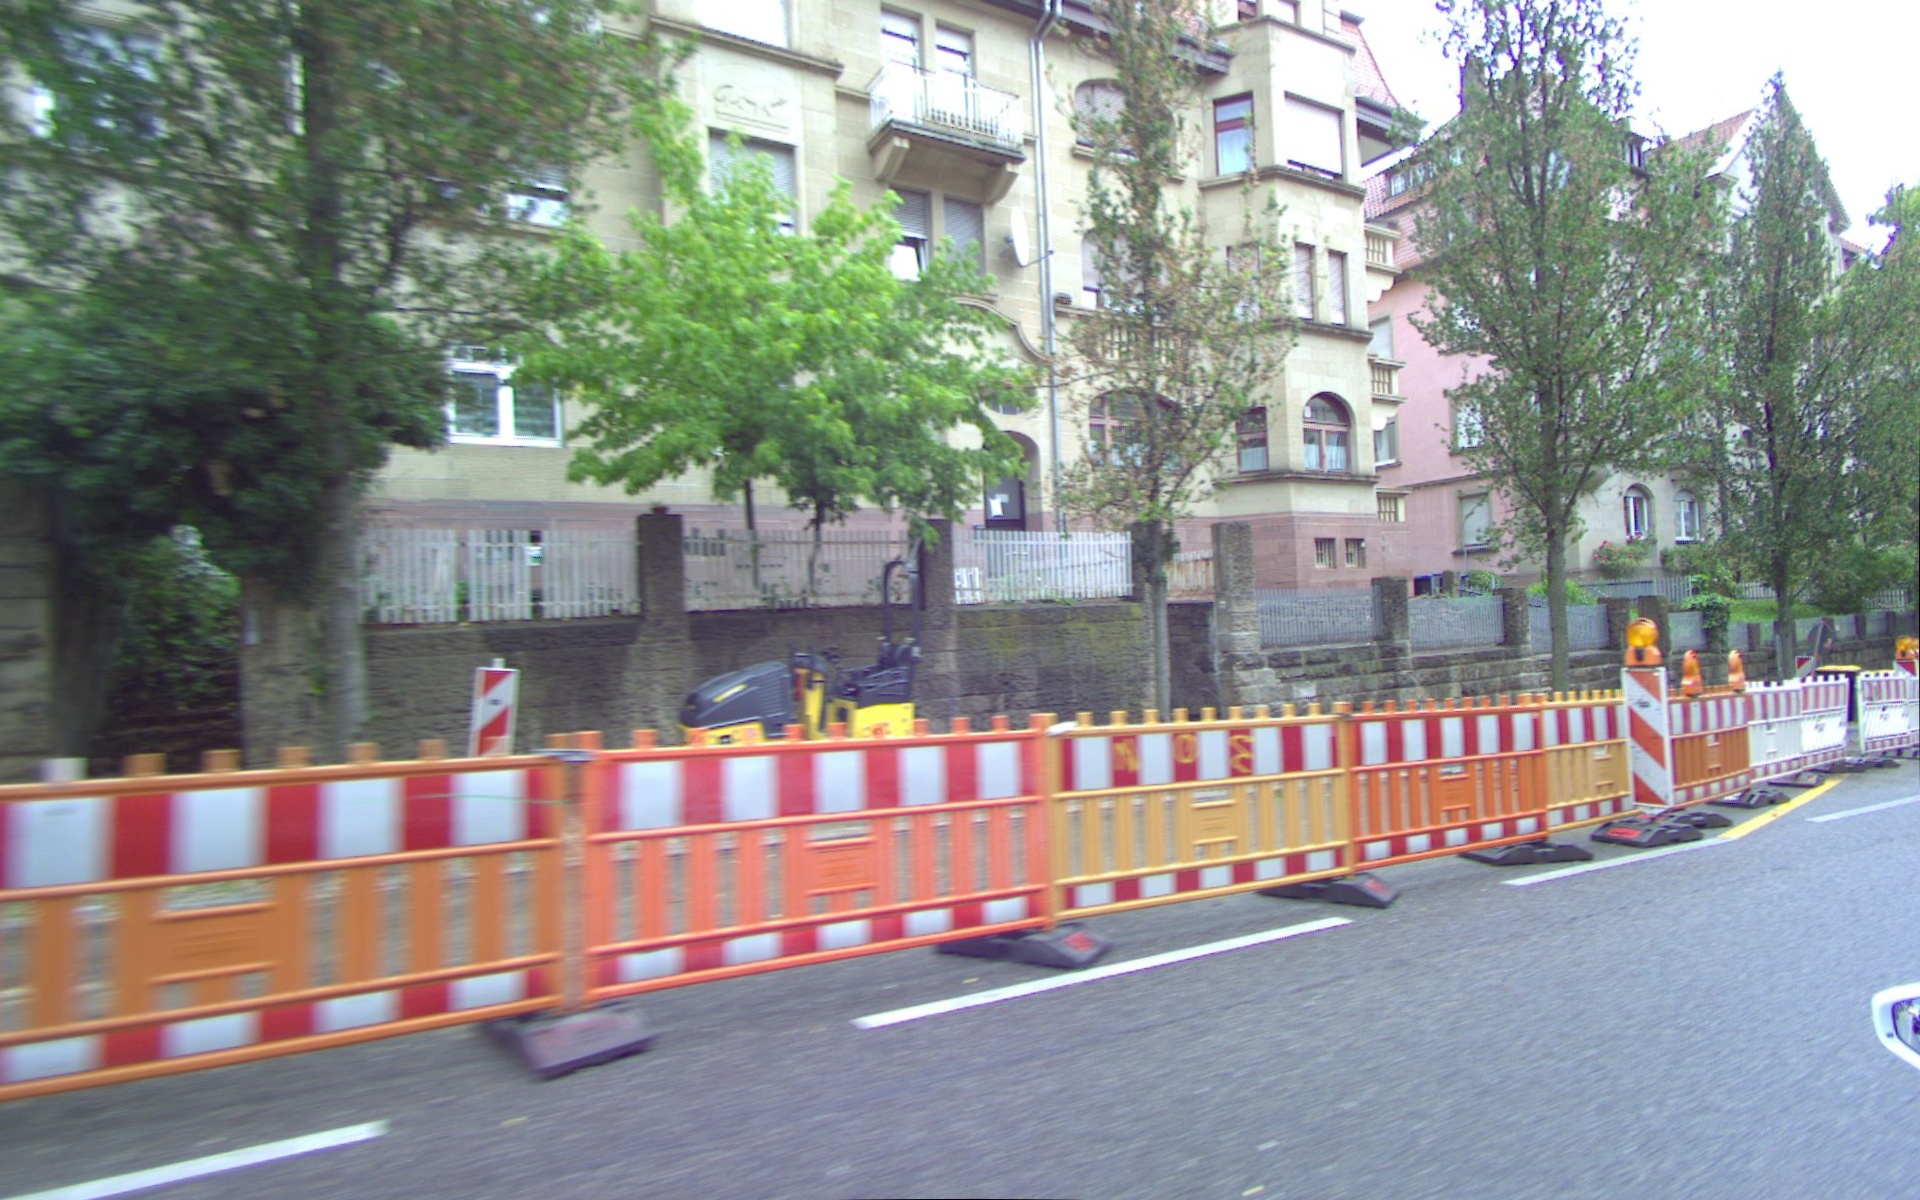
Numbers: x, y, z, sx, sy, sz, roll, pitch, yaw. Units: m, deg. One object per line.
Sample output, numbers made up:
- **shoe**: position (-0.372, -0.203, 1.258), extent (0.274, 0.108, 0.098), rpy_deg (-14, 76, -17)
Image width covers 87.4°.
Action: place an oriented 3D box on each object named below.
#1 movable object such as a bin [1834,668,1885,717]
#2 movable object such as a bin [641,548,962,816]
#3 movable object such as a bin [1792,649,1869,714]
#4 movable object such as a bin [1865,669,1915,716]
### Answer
- **movable object such as a bin**: position (18.429, 1.886, 20.587), extent (0.616, 0.920, 0.601), rpy_deg (1, 0, -29)
- **movable object such as a bin**: position (-1.660, 0.765, 10.252), extent (2.779, 2.329, 1.987), rpy_deg (1, -2, -27)
- **movable object such as a bin**: position (17.544, 1.621, 20.251), extent (0.845, 1.230, 0.941), rpy_deg (1, 0, -29)
- **movable object such as a bin**: position (19.673, 1.949, 21.244), extent (0.616, 0.920, 0.601), rpy_deg (1, 0, -29)
